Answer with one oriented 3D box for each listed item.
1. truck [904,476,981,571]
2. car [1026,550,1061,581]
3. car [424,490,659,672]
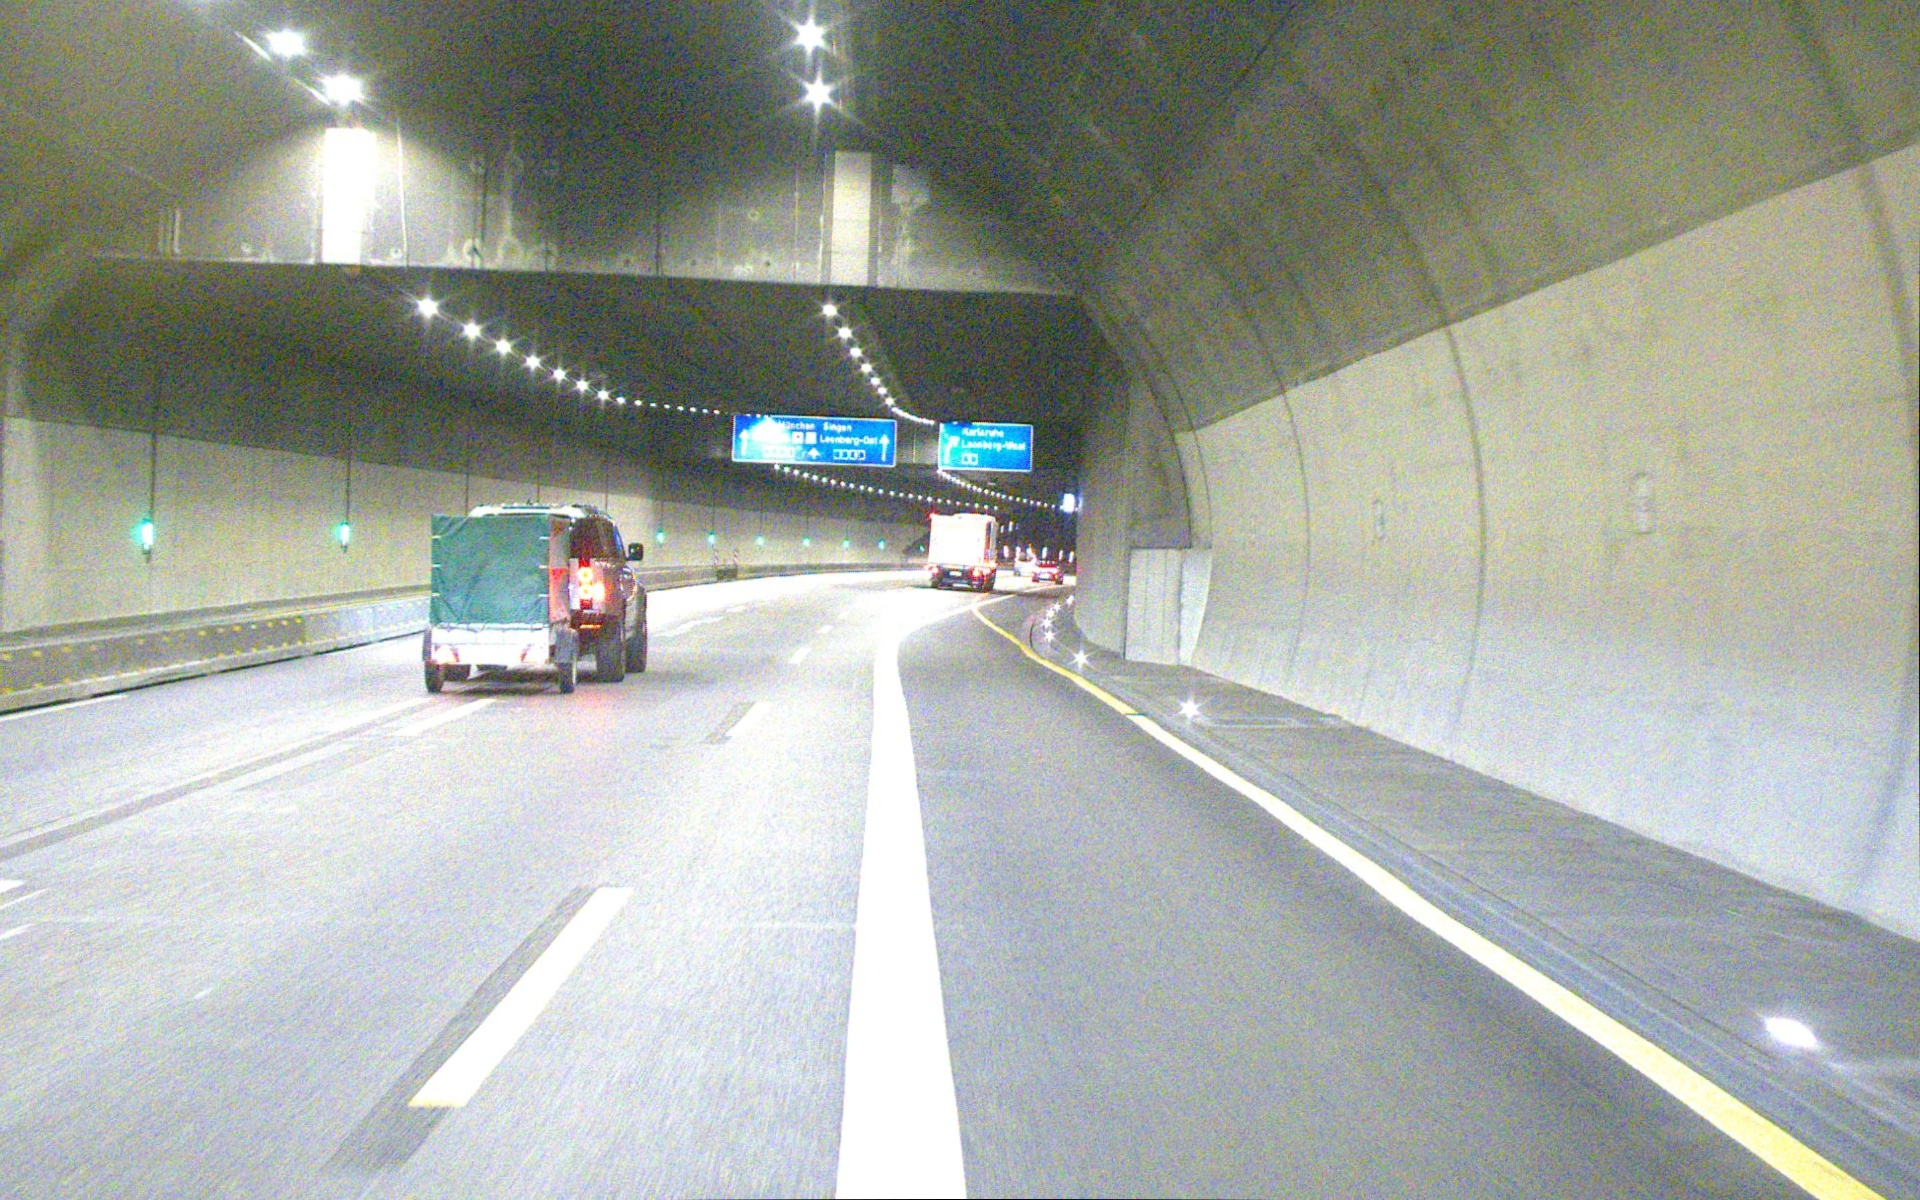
[{"bbox_3d":[-0.886,-3.673,162.493,3.474,4.301,10.953,0,2,-1],"label":"truck"},{"bbox_3d":[5.433,-2.261,222.848,1.994,1.888,5.532,-1,2,4],"label":"car"},{"bbox_3d":[-4.655,-0.160,39.016,1.993,1.889,5.453,-1,-1,0],"label":"car"}]
